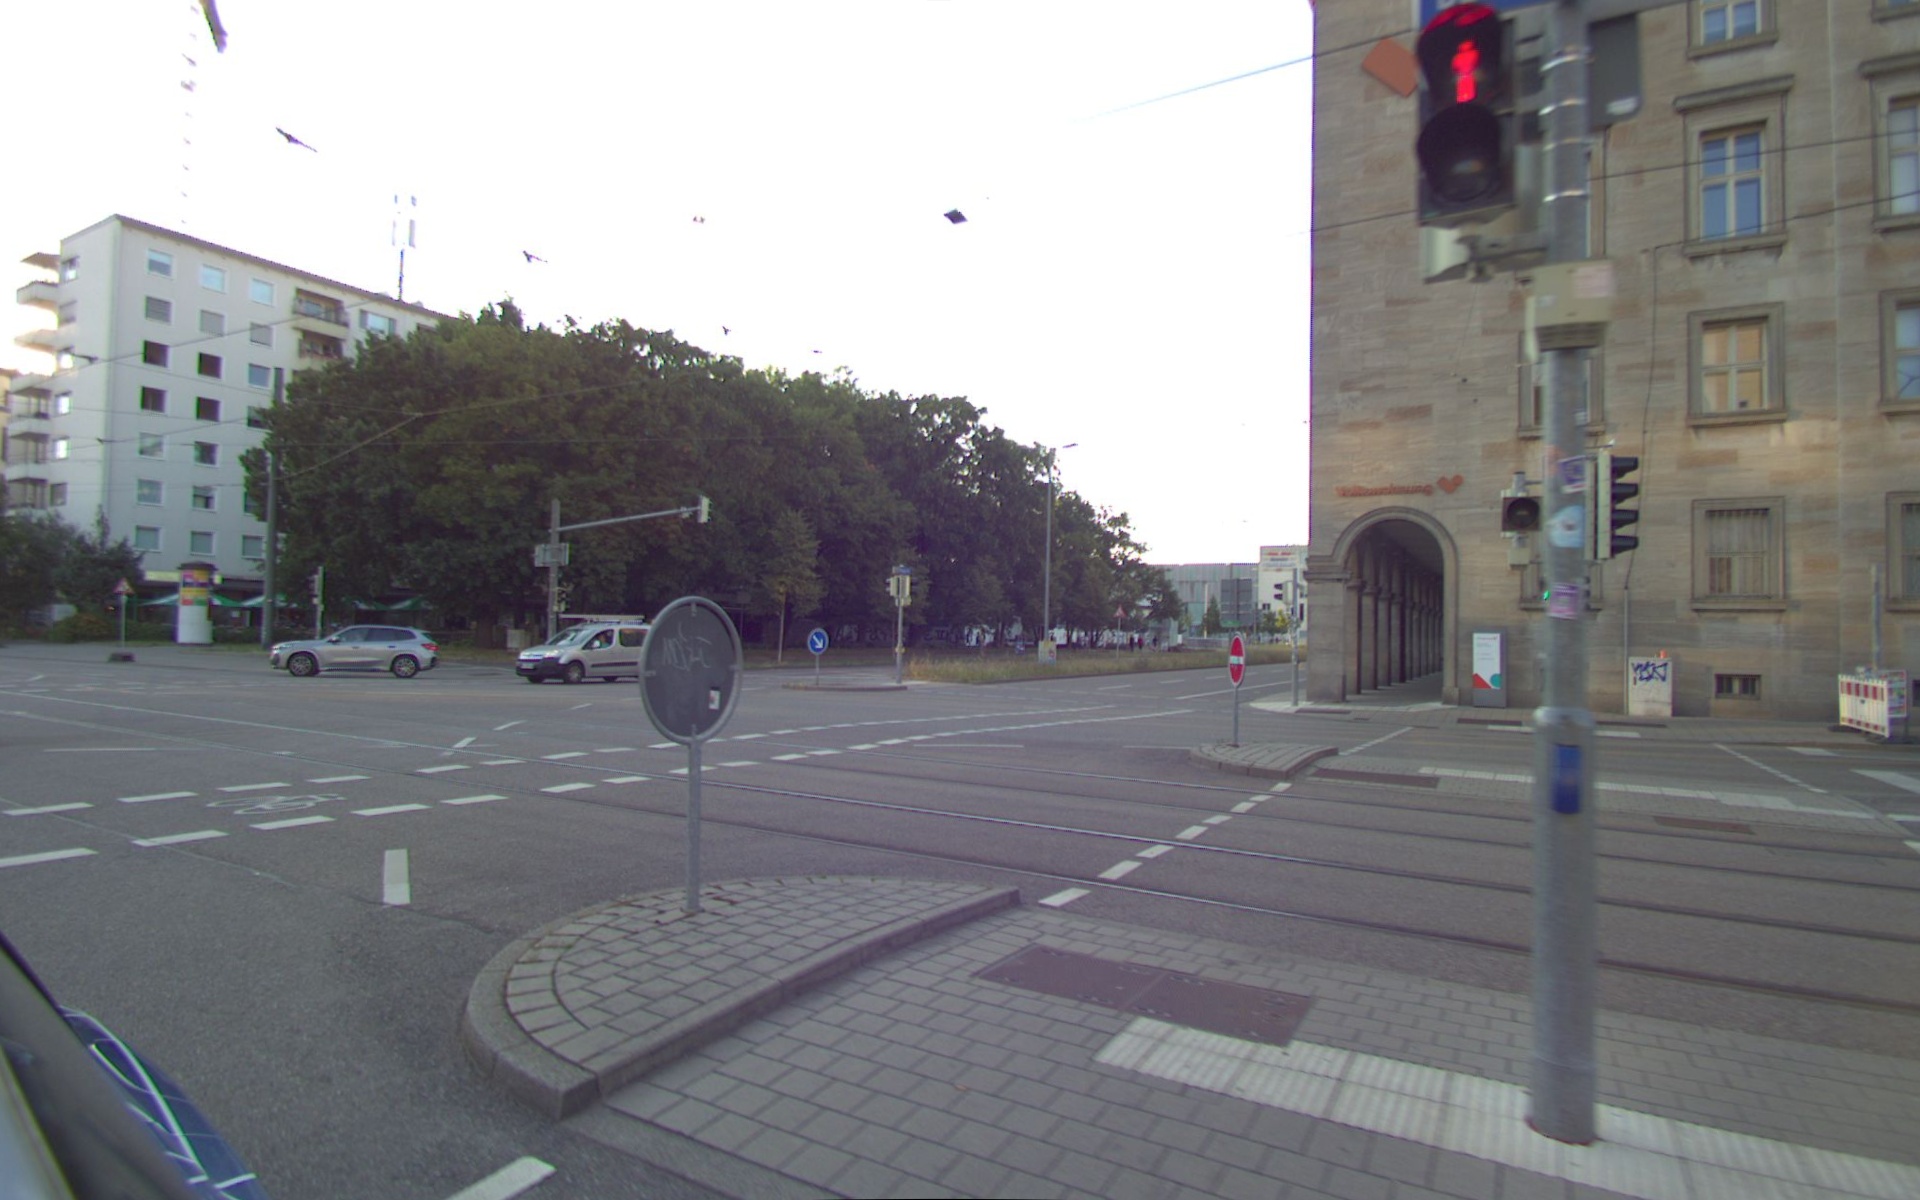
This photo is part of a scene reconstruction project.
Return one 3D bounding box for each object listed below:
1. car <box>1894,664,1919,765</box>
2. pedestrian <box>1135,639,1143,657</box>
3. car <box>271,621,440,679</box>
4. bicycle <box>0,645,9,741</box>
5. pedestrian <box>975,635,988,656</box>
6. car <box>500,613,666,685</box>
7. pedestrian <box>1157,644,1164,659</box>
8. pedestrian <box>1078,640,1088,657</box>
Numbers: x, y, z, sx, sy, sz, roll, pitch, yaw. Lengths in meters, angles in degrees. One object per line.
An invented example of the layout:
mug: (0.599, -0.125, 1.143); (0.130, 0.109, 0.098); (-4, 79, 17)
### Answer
car: (15.736, 1.648, 13.716); (4.215, 1.438, 1.631); (0, -3, 30)
pedestrian: (18.212, 4.887, 103.016); (0.627, 1.678, 0.642); (5, -2, 17)
car: (-18.437, 1.553, 31.045); (4.271, 1.676, 1.893); (2, -3, -30)
bicycle: (-11.194, 1.047, 10.843); (0.599, 1.123, 2.092); (2, -2, -18)
pedestrian: (1.586, 3.331, 74.080); (0.675, 1.508, 0.639); (-1, -3, 32)
car: (-10.862, 1.417, 29.494); (1.798, 1.926, 4.422); (0, -3, 28)
pedestrian: (20.435, 5.234, 103.000); (0.627, 1.405, 0.642); (2, -3, 17)
pedestrian: (11.034, 4.369, 90.660); (0.630, 1.474, 0.639); (-1, -3, 32)
